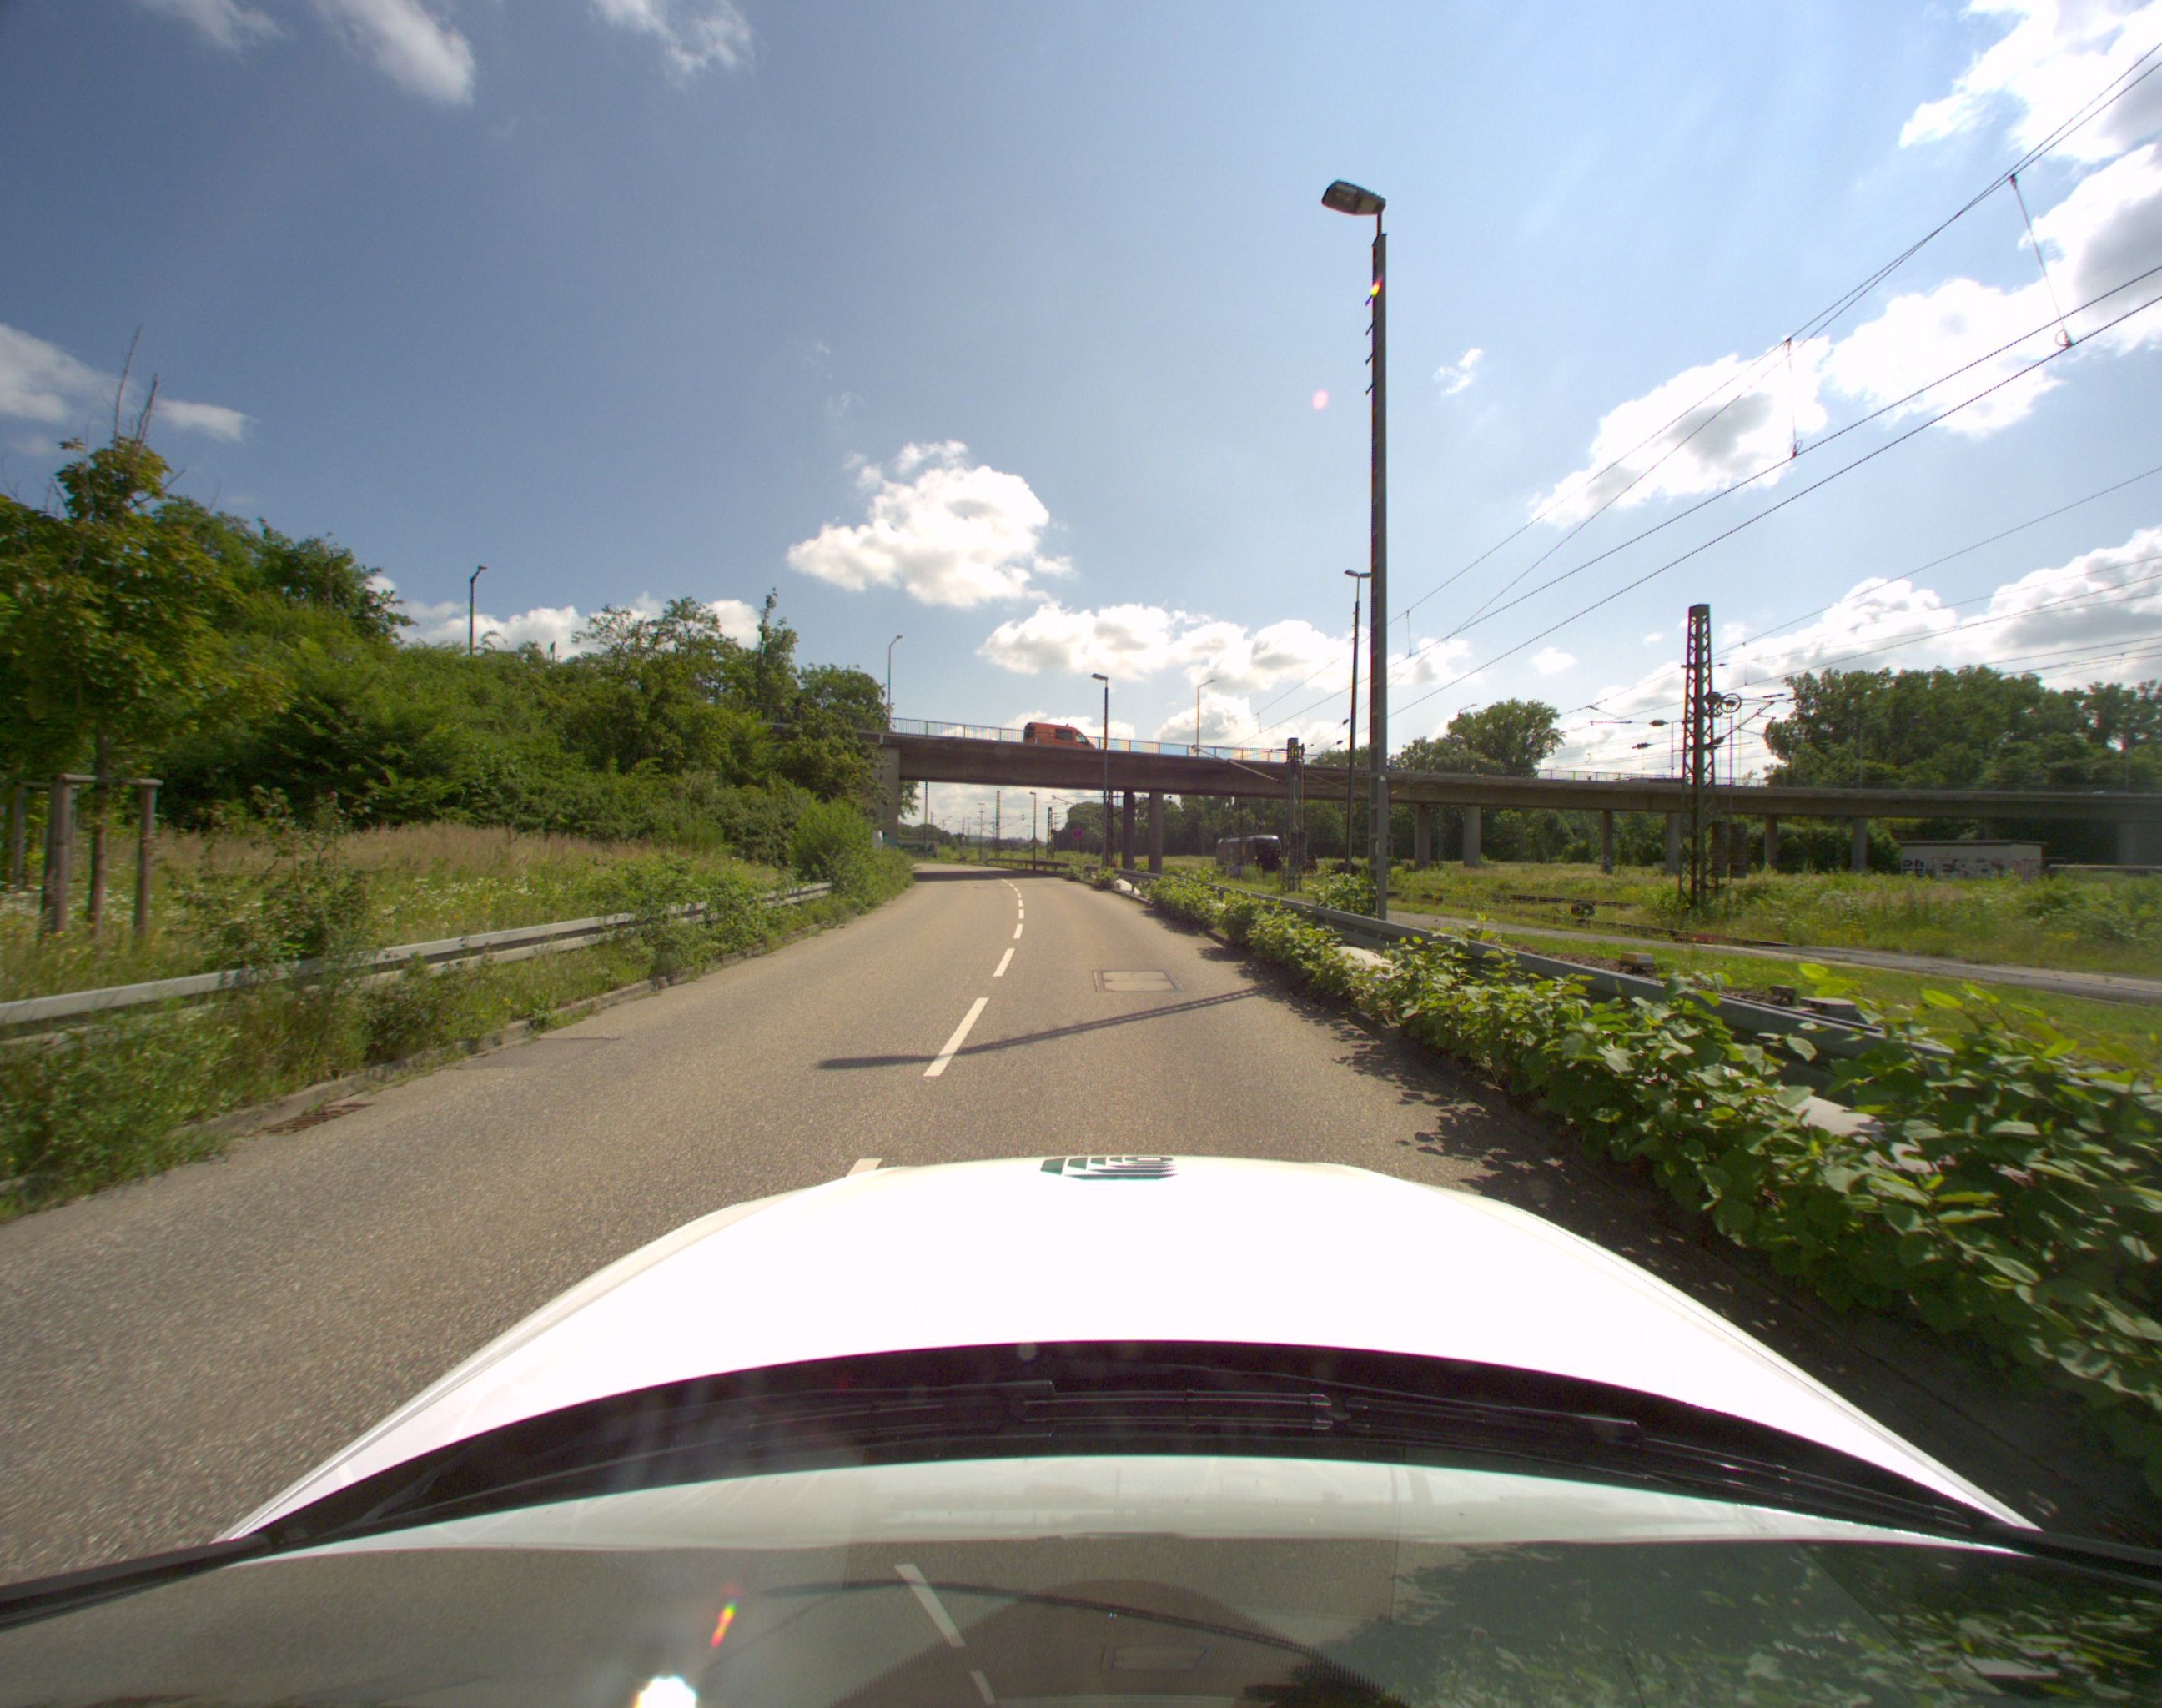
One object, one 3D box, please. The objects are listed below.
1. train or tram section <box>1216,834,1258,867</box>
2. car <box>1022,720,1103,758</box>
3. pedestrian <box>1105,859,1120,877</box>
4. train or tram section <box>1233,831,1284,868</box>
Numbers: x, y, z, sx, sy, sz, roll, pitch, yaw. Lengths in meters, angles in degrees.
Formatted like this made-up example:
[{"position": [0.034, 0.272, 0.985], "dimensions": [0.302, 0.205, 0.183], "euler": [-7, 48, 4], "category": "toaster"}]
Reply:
[{"position": [17.265, -0.363, 90.616], "dimensions": [2.750, 3.477, 8.228], "euler": [1, -1, -3], "category": "train or tram section"}, {"position": [-1.289, -7.974, 56.792], "dimensions": [5.356, 2.014, 1.979], "euler": [-1, -2, -32], "category": "car"}, {"position": [2.727, 1.186, 71.245], "dimensions": [1.109, 1.540, 1.576], "euler": [1, -1, -6], "category": "pedestrian"}, {"position": [17.792, -0.399, 82.234], "dimensions": [2.884, 3.509, 8.554], "euler": [1, -1, -3], "category": "train or tram section"}]
